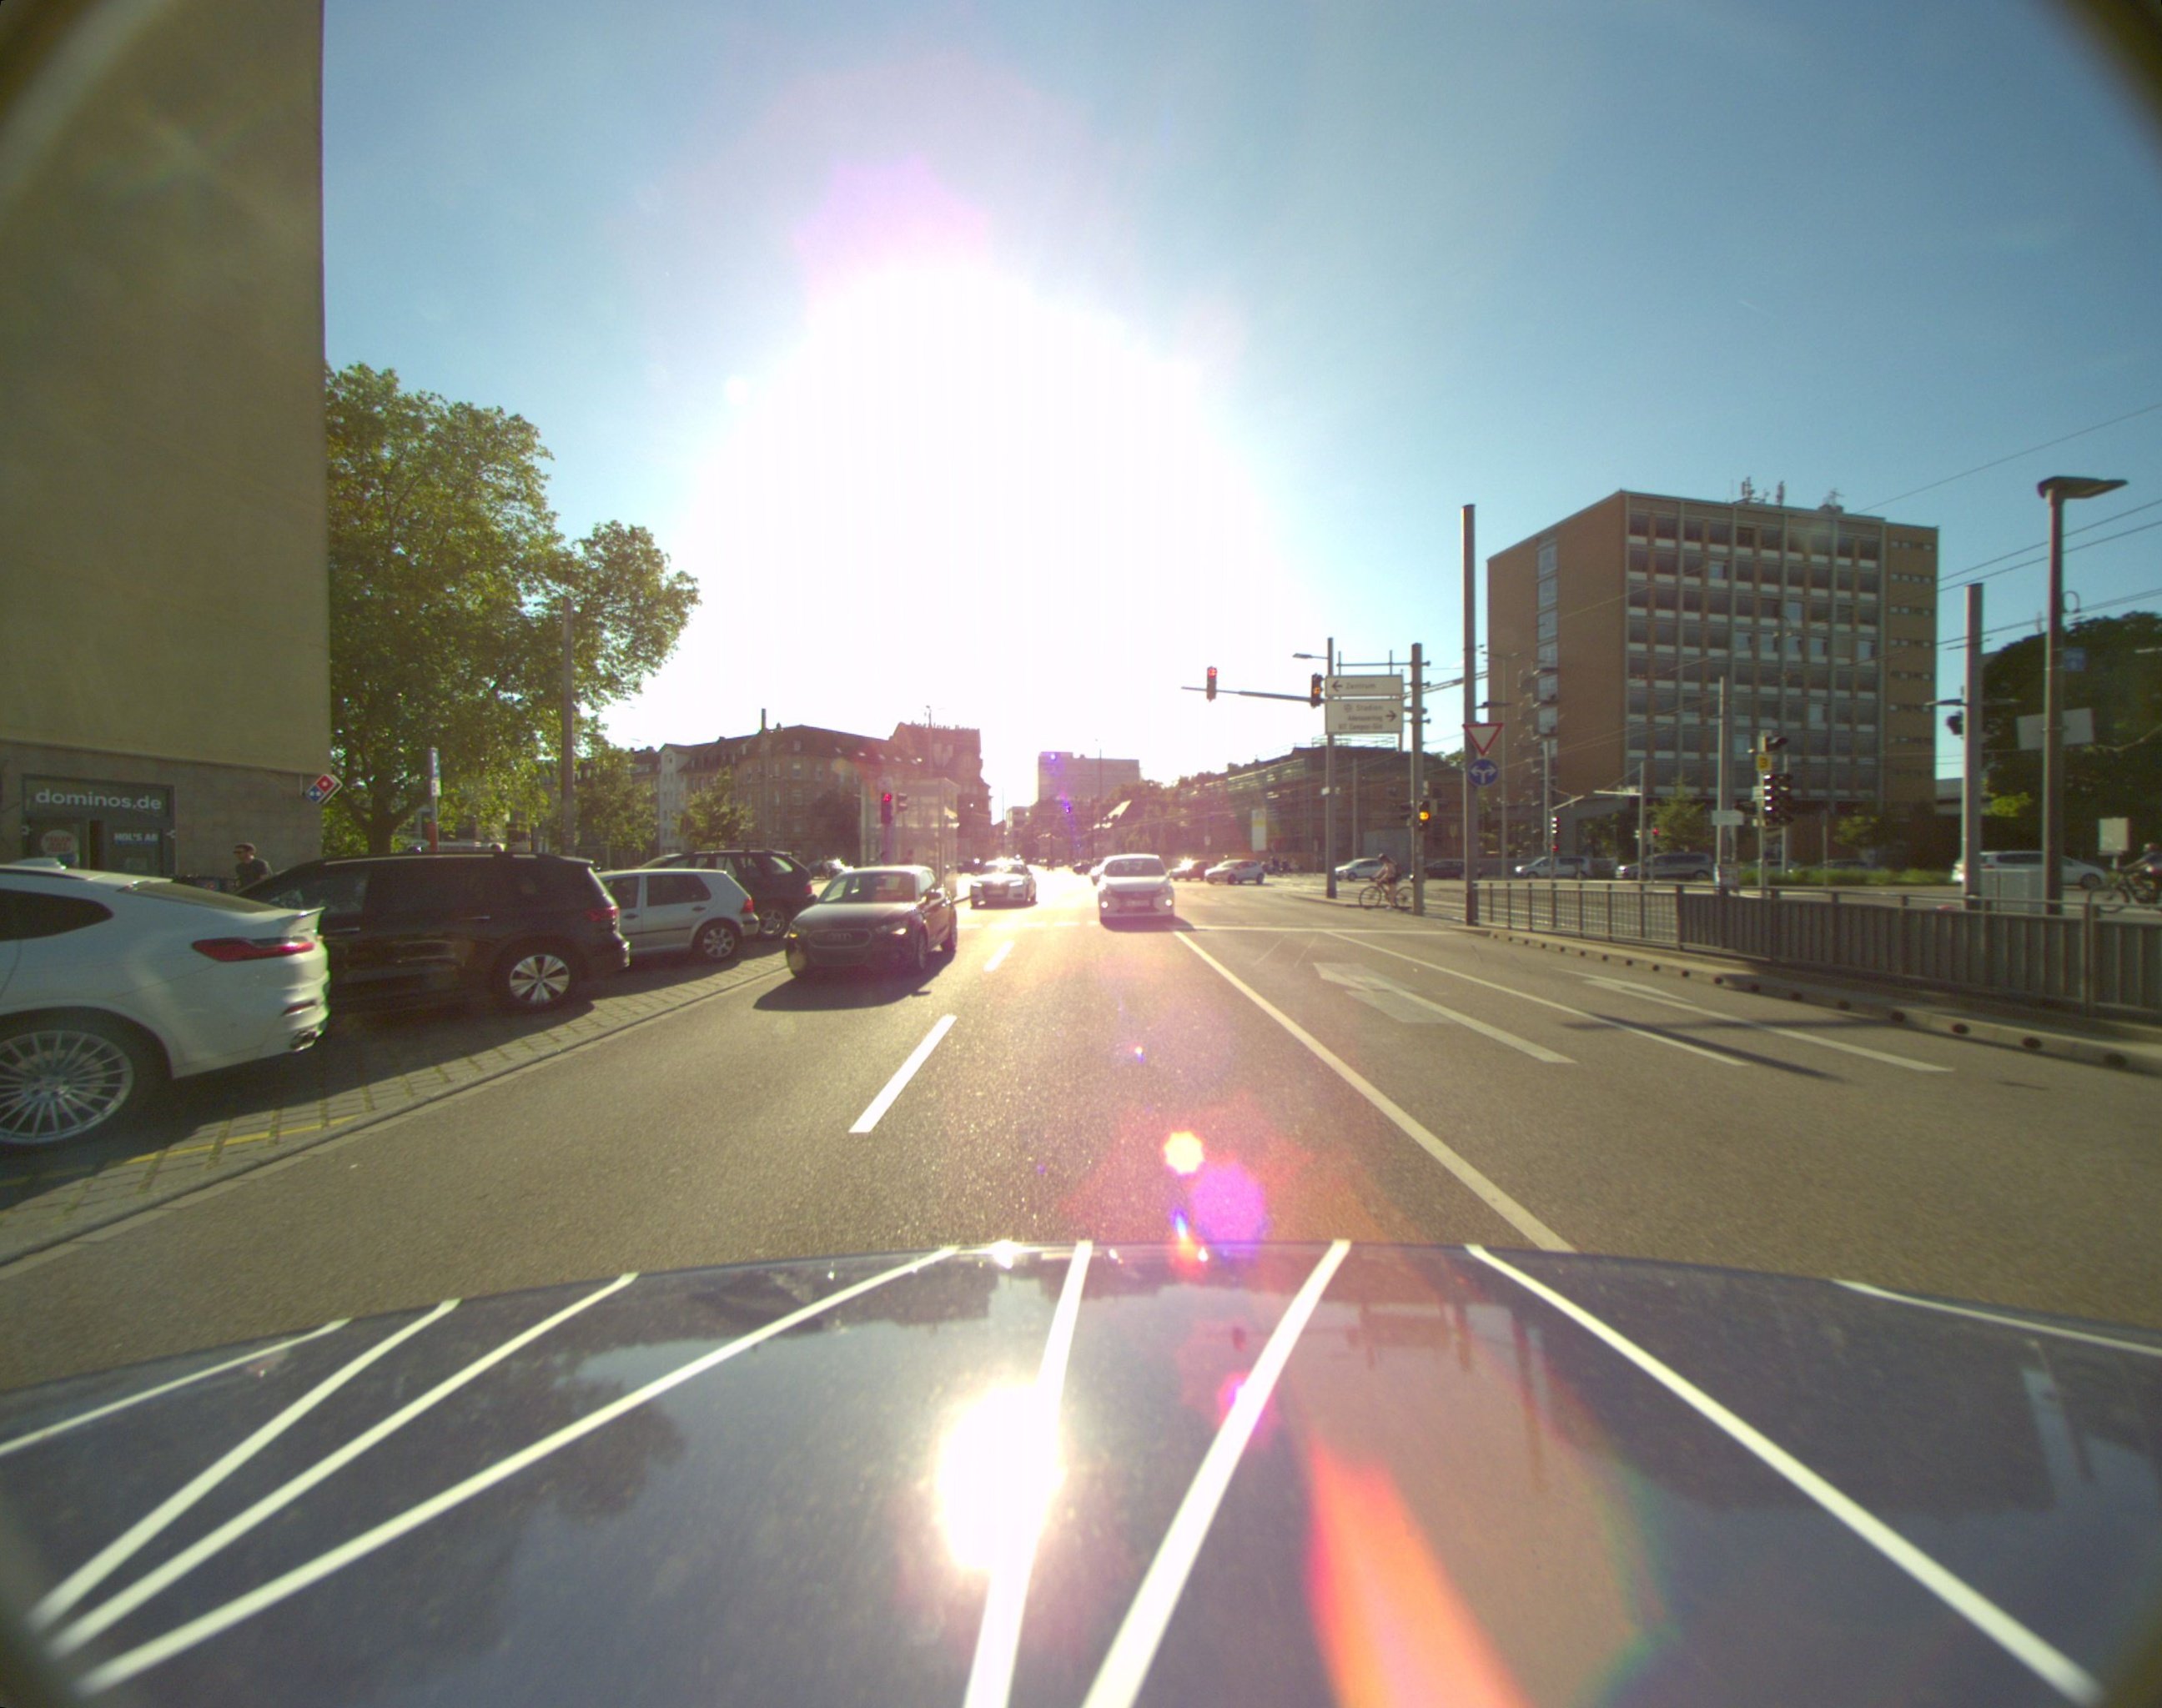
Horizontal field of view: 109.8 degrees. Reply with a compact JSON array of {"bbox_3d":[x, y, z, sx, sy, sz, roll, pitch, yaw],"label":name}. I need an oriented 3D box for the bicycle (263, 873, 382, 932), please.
[{"bbox_3d":[-16.690,1.063,16.756,1.899,1.241,0.659,1,1,-3],"label":"bicycle"}]

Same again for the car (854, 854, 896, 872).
[{"bbox_3d":[-21.770,0.950,80.413,4.008,1.457,1.757,3,8,23],"label":"car"}]

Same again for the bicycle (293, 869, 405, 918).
[{"bbox_3d":[-18.925,1.021,19.683,1.998,1.193,0.815,1,1,-5],"label":"bicycle"}]

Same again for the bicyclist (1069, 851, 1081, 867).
[{"bbox_3d":[-0.612,0.525,78.776,0.973,1.651,0.649,0,-2,21],"label":"bicyclist"}]

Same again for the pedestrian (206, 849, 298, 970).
[{"bbox_3d":[-13.205,0.847,12.138,0.754,1.855,0.830,0,1,-30],"label":"pedestrian"}]

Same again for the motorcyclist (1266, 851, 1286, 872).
[{"bbox_3d":[15.883,0.629,61.939,1.451,1.657,1.120,0,-2,21],"label":"motorcyclist"}]

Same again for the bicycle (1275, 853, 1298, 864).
[{"bbox_3d":[18.765,0.400,69.418,1.874,0.965,0.713,2,4,38],"label":"bicycle"}]

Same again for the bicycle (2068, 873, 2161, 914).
[{"bbox_3d":[26.459,0.981,18.982,0.816,0.936,2.000,-3,0,-14],"label":"bicycle"}]

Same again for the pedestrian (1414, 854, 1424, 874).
[{"bbox_3d":[30.223,0.881,67.918,0.620,1.730,0.667,2,2,42],"label":"pedestrian"}]

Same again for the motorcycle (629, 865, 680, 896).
[{"bbox_3d":[-15.357,0.938,27.407,0.880,1.040,1.803,1,1,-2],"label":"motorcycle"}]

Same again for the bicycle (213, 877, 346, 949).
[{"bbox_3d":[-15.681,1.113,14.949,0.659,1.241,1.900,1,1,-3],"label":"bicycle"}]

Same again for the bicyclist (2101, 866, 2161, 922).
[{"bbox_3d":[26.455,0.981,18.980,0.816,1.337,0.901,-3,0,-14],"label":"bicyclist"}]

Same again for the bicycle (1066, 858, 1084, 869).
[{"bbox_3d":[-0.636,0.975,78.759,1.772,1.116,0.649,0,-2,22],"label":"bicycle"}]

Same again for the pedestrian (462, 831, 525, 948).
[{"bbox_3d":[-9.715,0.566,12.565,0.755,1.855,0.696,-1,1,-42],"label":"pedestrian"}]

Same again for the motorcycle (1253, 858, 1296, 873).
[{"bbox_3d":[15.785,0.905,61.966,3.225,1.187,1.120,0,-2,21],"label":"motorcycle"}]

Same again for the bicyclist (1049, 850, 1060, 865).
[{"bbox_3d":[-2.862,0.377,83.069,0.972,1.685,0.649,0,-1,26],"label":"bicyclist"}]

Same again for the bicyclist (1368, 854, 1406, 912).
[{"bbox_3d":[8.714,0.808,21.646,0.676,1.607,0.815,1,1,-5],"label":"bicyclist"}]

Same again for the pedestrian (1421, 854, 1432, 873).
[{"bbox_3d":[30.901,0.850,67.974,0.732,1.730,0.622,0,2,11],"label":"pedestrian"}]

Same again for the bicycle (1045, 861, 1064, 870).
[{"bbox_3d":[-2.914,1.244,83.079,1.902,1.021,0.649,0,-1,26],"label":"bicycle"}]

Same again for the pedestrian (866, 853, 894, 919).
[{"bbox_3d":[-5.373,0.832,20.274,0.698,1.718,0.752,0,1,-16],"label":"pedestrian"}]

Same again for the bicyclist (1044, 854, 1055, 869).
[{"bbox_3d":[-3.227,0.793,77.887,0.973,1.559,0.649,0,-2,17],"label":"bicyclist"}]

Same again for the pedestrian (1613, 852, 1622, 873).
[{"bbox_3d":[45.515,0.727,64.435,0.623,1.701,0.487,-1,-2,35],"label":"pedestrian"}]

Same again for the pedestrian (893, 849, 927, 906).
[{"bbox_3d":[-5.289,0.707,23.476,0.796,1.718,0.868,0,1,-31],"label":"pedestrian"}]

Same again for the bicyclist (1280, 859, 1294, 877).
[{"bbox_3d":[18.813,1.247,69.441,1.014,1.579,0.695,2,5,39],"label":"bicyclist"}]

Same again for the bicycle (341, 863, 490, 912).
[{"bbox_3d":[-16.252,0.827,18.677,1.032,1.116,2.535,0,-3,18],"label":"bicycle"}]

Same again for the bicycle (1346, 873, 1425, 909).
[{"bbox_3d":[8.662,1.046,21.653,1.894,0.936,0.815,1,1,-5],"label":"bicycle"}]

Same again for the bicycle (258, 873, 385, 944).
[{"bbox_3d":[-14.894,1.026,14.980,0.659,1.241,1.900,1,1,-3],"label":"bicycle"}]

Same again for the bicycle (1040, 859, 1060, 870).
[{"bbox_3d":[-3.178,1.060,77.866,1.899,1.116,0.649,0,-2,17],"label":"bicycle"}]

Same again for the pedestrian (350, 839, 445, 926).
[{"bbox_3d":[-16.390,0.680,18.258,1.032,2.001,1.272,0,-2,18],"label":"pedestrian"}]

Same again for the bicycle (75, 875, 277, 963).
[{"bbox_3d":[-14.868,1.011,12.618,0.659,1.241,2.298,1,0,-2],"label":"bicycle"}]

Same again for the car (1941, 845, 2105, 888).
[{"bbox_3d":[43.178,0.555,34.948,4.456,1.723,1.944,2,0,12],"label":"car"}]

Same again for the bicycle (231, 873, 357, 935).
[{"bbox_3d":[-16.609,1.042,16.059,1.899,1.241,0.659,1,1,-3],"label":"bicycle"}]
